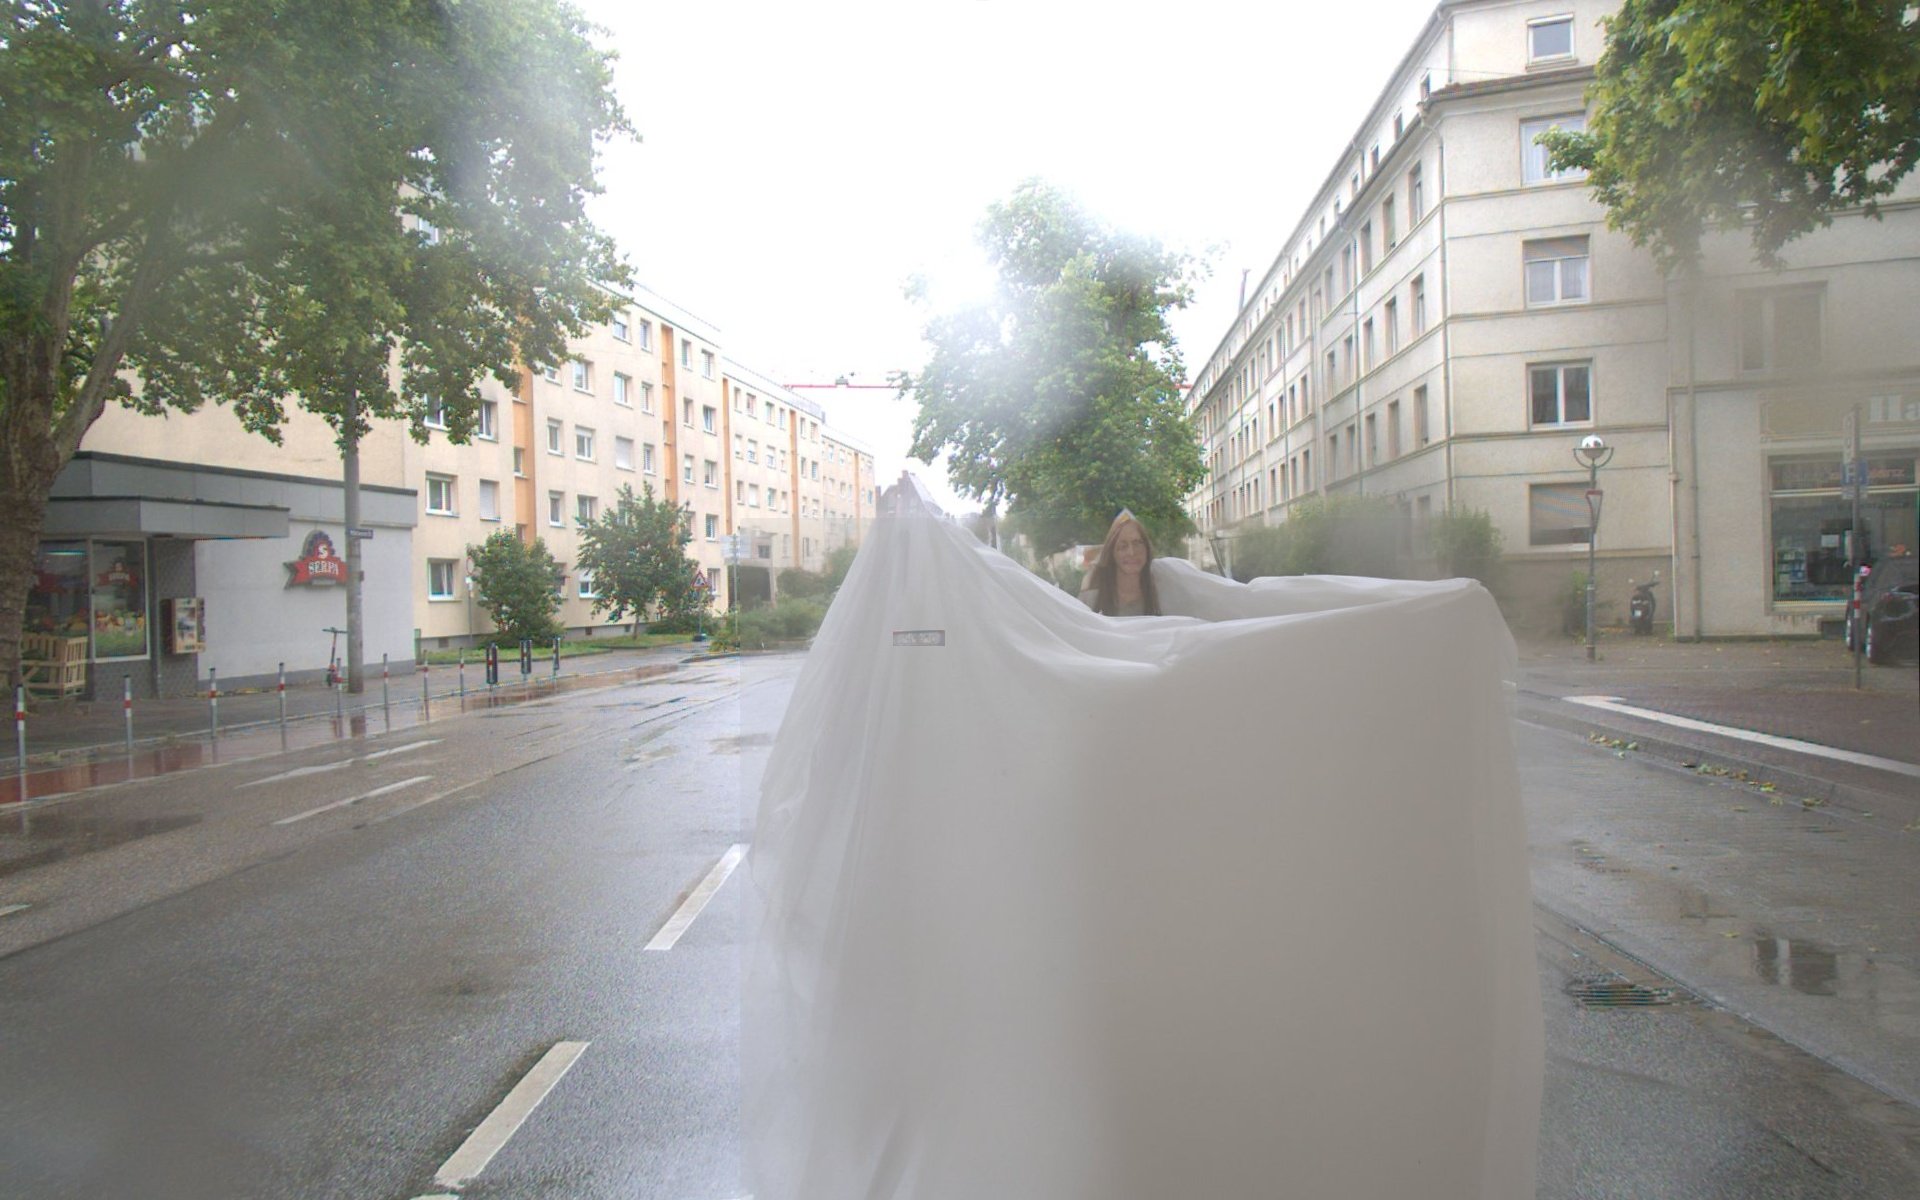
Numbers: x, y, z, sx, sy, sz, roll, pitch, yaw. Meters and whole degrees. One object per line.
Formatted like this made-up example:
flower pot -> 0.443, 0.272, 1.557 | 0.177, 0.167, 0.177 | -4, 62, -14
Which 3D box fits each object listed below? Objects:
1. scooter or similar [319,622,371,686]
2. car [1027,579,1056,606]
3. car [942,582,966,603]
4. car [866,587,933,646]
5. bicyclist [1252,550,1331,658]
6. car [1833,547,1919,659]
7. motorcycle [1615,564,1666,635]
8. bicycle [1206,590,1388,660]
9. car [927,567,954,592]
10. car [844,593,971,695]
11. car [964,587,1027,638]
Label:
scooter or similar -> -13.081, 1.138, 35.191 | 0.428, 1.288, 1.376 | -2, 0, 7
car -> 6.167, -0.560, 124.832 | 2.004, 1.868, 4.794 | -2, 0, 4
car -> -0.496, -0.663, 148.999 | 1.850, 1.868, 4.002 | -2, 0, 3
car -> -1.536, 0.408, 43.221 | 1.574, 1.396, 4.000 | -3, 0, 0
bicyclist -> 6.029, 0.064, 30.096 | 0.924, 1.901, 1.137 | -2, 0, -18
car -> 15.353, 0.022, 26.492 | 1.953, 1.656, 4.630 | 1, 1, 22
motorcycle -> 14.345, -0.031, 34.817 | 0.858, 1.416, 3.003 | -2, 0, 24
bicycle -> 6.145, 0.437, 30.181 | 3.157, 1.131, 1.048 | -2, 0, -19
car -> -1.554, -1.641, 132.110 | 1.850, 1.868, 4.002 | -2, 0, 3
car -> -0.736, 0.600, 24.679 | 1.754, 1.396, 3.506 | 0, 0, 0
car -> 1.181, 0.422, 56.572 | 1.953, 1.601, 3.999 | -2, 0, -1
